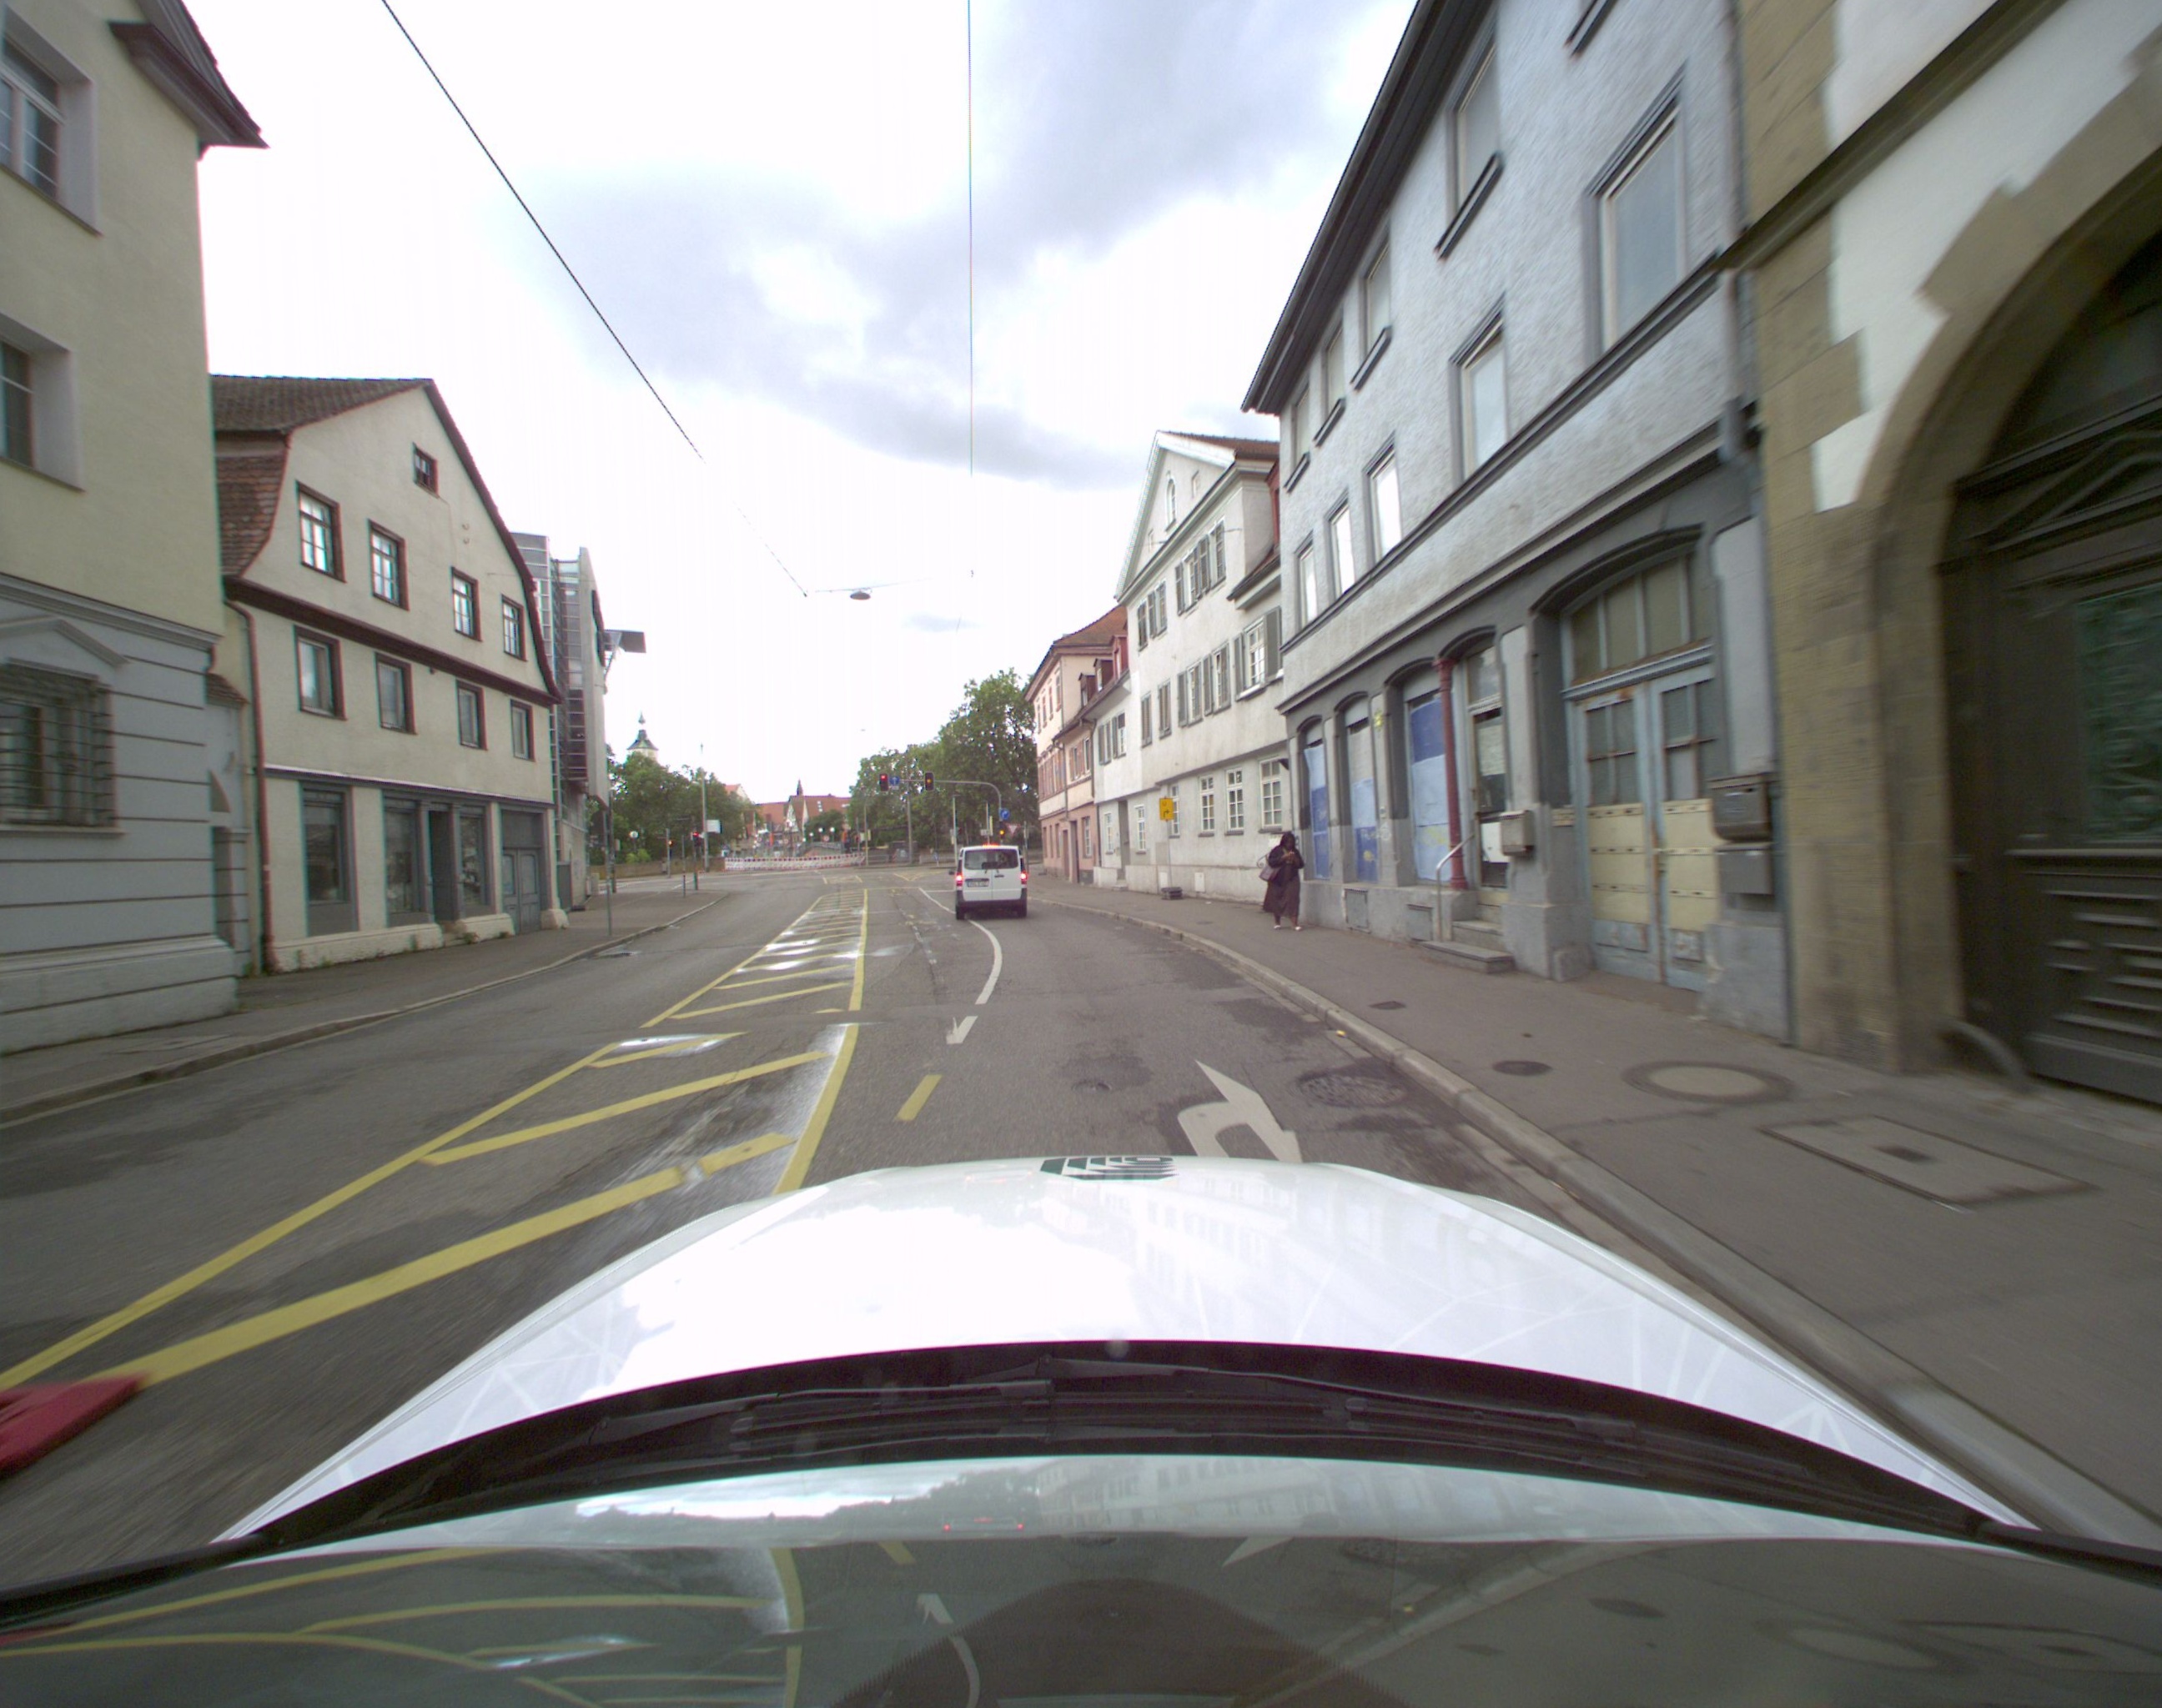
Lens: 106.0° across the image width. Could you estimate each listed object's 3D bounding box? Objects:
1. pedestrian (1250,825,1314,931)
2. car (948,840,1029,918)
[{"bbox_3d":[3.358,0.386,13.662,0.752,1.667,0.809,-5,0,0],"label":"pedestrian"},{"bbox_3d":[-2.635,0.635,22.532,1.993,1.923,4.235,-1,-1,-9],"label":"car"}]
